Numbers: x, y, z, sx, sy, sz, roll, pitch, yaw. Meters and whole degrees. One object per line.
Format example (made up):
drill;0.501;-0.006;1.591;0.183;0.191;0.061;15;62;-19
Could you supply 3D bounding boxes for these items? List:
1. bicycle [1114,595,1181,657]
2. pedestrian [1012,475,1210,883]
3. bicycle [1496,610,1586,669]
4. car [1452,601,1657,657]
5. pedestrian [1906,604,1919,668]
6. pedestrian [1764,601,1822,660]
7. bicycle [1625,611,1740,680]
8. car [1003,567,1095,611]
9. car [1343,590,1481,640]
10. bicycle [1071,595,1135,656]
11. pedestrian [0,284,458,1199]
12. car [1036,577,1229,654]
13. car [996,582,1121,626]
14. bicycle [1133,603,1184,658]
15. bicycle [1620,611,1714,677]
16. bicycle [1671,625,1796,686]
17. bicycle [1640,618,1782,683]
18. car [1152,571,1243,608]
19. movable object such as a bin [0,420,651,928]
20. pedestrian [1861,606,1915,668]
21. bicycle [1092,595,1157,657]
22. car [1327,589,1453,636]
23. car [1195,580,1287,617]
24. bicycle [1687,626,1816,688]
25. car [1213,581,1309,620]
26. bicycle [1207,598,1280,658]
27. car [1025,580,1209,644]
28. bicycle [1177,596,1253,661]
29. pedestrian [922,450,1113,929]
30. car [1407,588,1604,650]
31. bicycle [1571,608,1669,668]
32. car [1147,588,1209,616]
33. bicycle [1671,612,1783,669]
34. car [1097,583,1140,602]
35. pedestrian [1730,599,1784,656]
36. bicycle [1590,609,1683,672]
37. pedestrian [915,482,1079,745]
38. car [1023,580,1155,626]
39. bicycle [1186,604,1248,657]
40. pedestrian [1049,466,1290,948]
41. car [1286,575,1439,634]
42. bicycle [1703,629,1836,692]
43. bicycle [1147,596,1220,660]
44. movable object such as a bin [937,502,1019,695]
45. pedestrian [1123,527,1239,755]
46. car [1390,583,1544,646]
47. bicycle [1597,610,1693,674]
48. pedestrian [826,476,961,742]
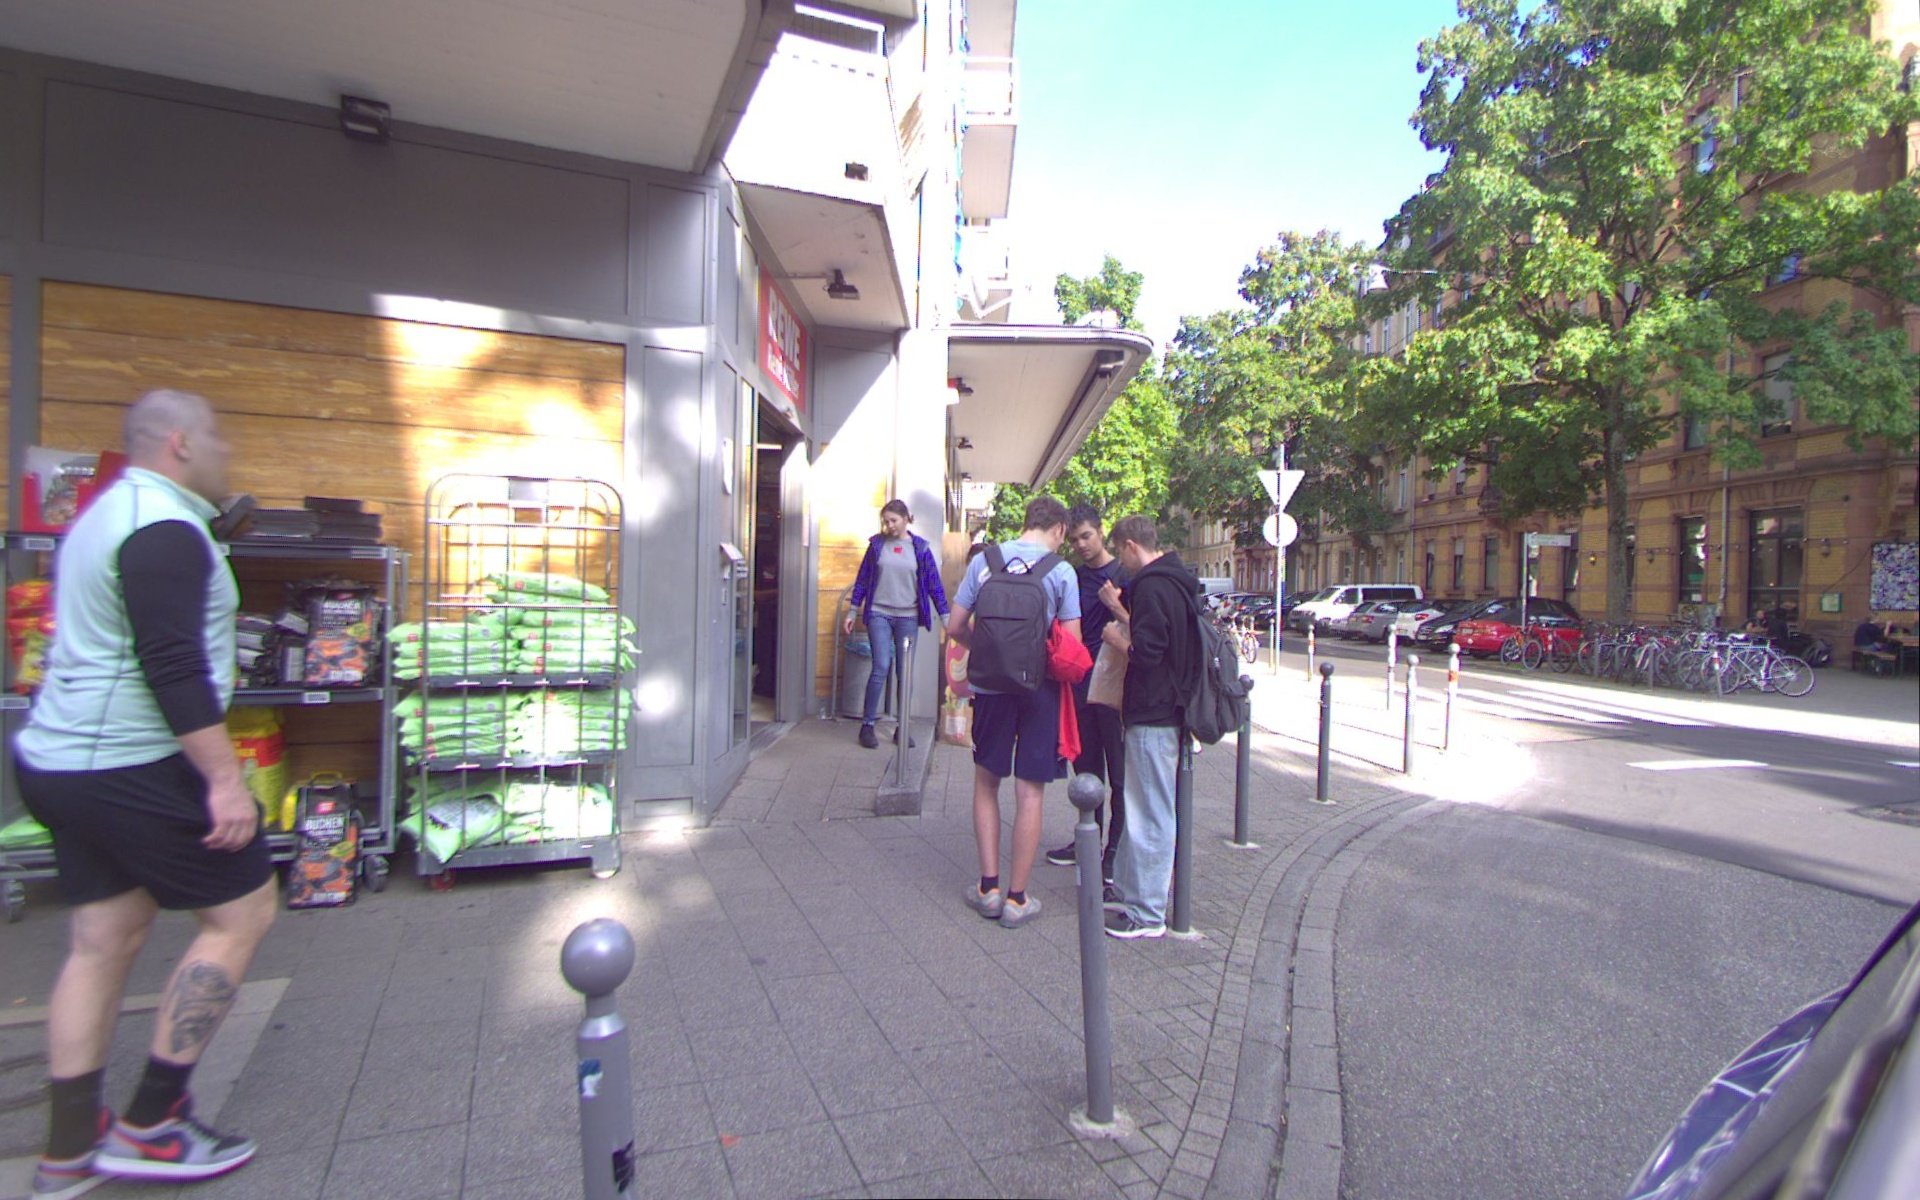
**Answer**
bicycle;3.686;0.501;20.028;0.412;1.099;1.703;2;2;-22
pedestrian;0.694;0.353;4.863;0.645;1.818;0.657;3;3;-10
bicycle;12.583;0.820;22.014;0.571;1.109;2.499;-2;1;2
car;14.425;0.686;24.696;4.034;1.286;1.567;-1;-1;0
pedestrian;19.932;0.740;20.714;0.631;1.274;0.511;0;2;9
pedestrian;18.791;0.687;22.837;0.754;1.301;0.629;-1;0;0
bicycle;13.480;0.836;18.925;1.688;1.216;0.446;0;1;15
car;5.025;-0.584;57.092;4.713;2.249;2.150;2;0;-30
car;14.439;0.486;32.475;3.641;1.476;1.668;-1;-1;4
bicycle;2.807;0.484;20.059;0.412;1.099;1.703;2;2;-22
pedestrian;-1.847;0.345;2.294;0.885;1.857;1.030;4;3;45
car;3.927;0.344;23.337;3.917;1.473;1.814;3;1;-12
car;3.827;0.163;39.255;4.534;1.514;1.753;2;0;-26
bicycle;3.966;0.592;20.284;0.405;1.031;1.505;2;1;-12
bicycle;13.695;0.847;19.614;1.677;1.216;0.449;-1;1;-12
bicycle;13.599;0.967;17.833;1.688;0.999;0.446;0;1;15
bicycle;13.551;0.900;18.309;2.016;1.102;0.446;0;1;15
car;15.248;-0.645;65.230;5.381;2.229;1.998;1;-1;3
movable object such as a bin;-2.586;0.264;4.252;2.372;1.766;0.784;1;1;-23
pedestrian;19.179;0.751;20.928;0.631;1.240;0.511;0;2;9
bicycle;3.226;0.492;19.973;0.412;1.099;1.703;2;2;-22
car;14.913;0.426;35.228;3.641;1.476;1.669;-1;1;4
car;15.214;-0.086;55.000;4.373;1.856;1.937;-1;1;-1
bicycle;13.575;0.972;17.393;1.688;0.999;0.446;0;1;15
car;15.620;0.004;52.679;4.373;1.856;1.937;-1;1;-1
bicycle;6.023;0.576;21.615;0.405;1.190;1.857;2;1;-23
car;4.129;0.323;26.332;4.574;1.473;1.957;2;0;-33
bicycle;5.078;0.550;20.290;0.405;1.190;1.857;2;1;-23
pedestrian;0.268;0.329;4.283;0.622;1.818;0.713;4;3;10
car;14.677;0.507;27.468;4.240;1.589;2.002;-1;0;8
bicycle;13.796;0.792;21.188;1.682;1.216;0.447;0;1;6
car;15.818;0.165;73.565;4.050;1.898;1.998;1;-1;3
bicycle;15.787;0.829;20.855;1.769;1.128;0.599;0;1;6
car;15.629;-0.756;99.721;3.925;1.754;1.829;1;-1;1
pedestrian;18.694;0.636;23.746;0.754;1.301;0.629;-1;0;0
bicycle;13.793;0.816;20.641;1.678;1.216;0.449;0;1;-6
pedestrian;0.321;0.085;8.487;0.859;2.038;1.020;4;2;37
car;4.754;0.116;37.107;4.534;1.514;1.753;2;0;-26
bicycle;5.389;0.631;21.284;0.482;1.014;1.426;2;1;-23
pedestrian;0.888;0.383;4.272;0.710;1.818;0.625;5;3;32
car;14.925;0.145;37.741;4.817;2.014;2.048;-1;1;-1
bicycle;13.520;0.998;16.940;1.688;0.981;0.446;0;1;15
bicycle;4.512;0.538;20.581;0.405;1.190;1.857;2;1;-23
movable object such as a bin;0.152;-0.025;10.299;0.677;1.776;1.550;3;1;-1
pedestrian;1.792;0.314;8.302;0.828;1.775;0.612;2;0;8
car;15.031;0.411;30.156;3.641;1.743;1.859;1;-1;4
bicycle;13.644;0.830;20.171;1.678;1.216;0.449;0;1;-6
pedestrian;-0.453;0.050;7.310;0.753;1.775;0.928;2;0;9
